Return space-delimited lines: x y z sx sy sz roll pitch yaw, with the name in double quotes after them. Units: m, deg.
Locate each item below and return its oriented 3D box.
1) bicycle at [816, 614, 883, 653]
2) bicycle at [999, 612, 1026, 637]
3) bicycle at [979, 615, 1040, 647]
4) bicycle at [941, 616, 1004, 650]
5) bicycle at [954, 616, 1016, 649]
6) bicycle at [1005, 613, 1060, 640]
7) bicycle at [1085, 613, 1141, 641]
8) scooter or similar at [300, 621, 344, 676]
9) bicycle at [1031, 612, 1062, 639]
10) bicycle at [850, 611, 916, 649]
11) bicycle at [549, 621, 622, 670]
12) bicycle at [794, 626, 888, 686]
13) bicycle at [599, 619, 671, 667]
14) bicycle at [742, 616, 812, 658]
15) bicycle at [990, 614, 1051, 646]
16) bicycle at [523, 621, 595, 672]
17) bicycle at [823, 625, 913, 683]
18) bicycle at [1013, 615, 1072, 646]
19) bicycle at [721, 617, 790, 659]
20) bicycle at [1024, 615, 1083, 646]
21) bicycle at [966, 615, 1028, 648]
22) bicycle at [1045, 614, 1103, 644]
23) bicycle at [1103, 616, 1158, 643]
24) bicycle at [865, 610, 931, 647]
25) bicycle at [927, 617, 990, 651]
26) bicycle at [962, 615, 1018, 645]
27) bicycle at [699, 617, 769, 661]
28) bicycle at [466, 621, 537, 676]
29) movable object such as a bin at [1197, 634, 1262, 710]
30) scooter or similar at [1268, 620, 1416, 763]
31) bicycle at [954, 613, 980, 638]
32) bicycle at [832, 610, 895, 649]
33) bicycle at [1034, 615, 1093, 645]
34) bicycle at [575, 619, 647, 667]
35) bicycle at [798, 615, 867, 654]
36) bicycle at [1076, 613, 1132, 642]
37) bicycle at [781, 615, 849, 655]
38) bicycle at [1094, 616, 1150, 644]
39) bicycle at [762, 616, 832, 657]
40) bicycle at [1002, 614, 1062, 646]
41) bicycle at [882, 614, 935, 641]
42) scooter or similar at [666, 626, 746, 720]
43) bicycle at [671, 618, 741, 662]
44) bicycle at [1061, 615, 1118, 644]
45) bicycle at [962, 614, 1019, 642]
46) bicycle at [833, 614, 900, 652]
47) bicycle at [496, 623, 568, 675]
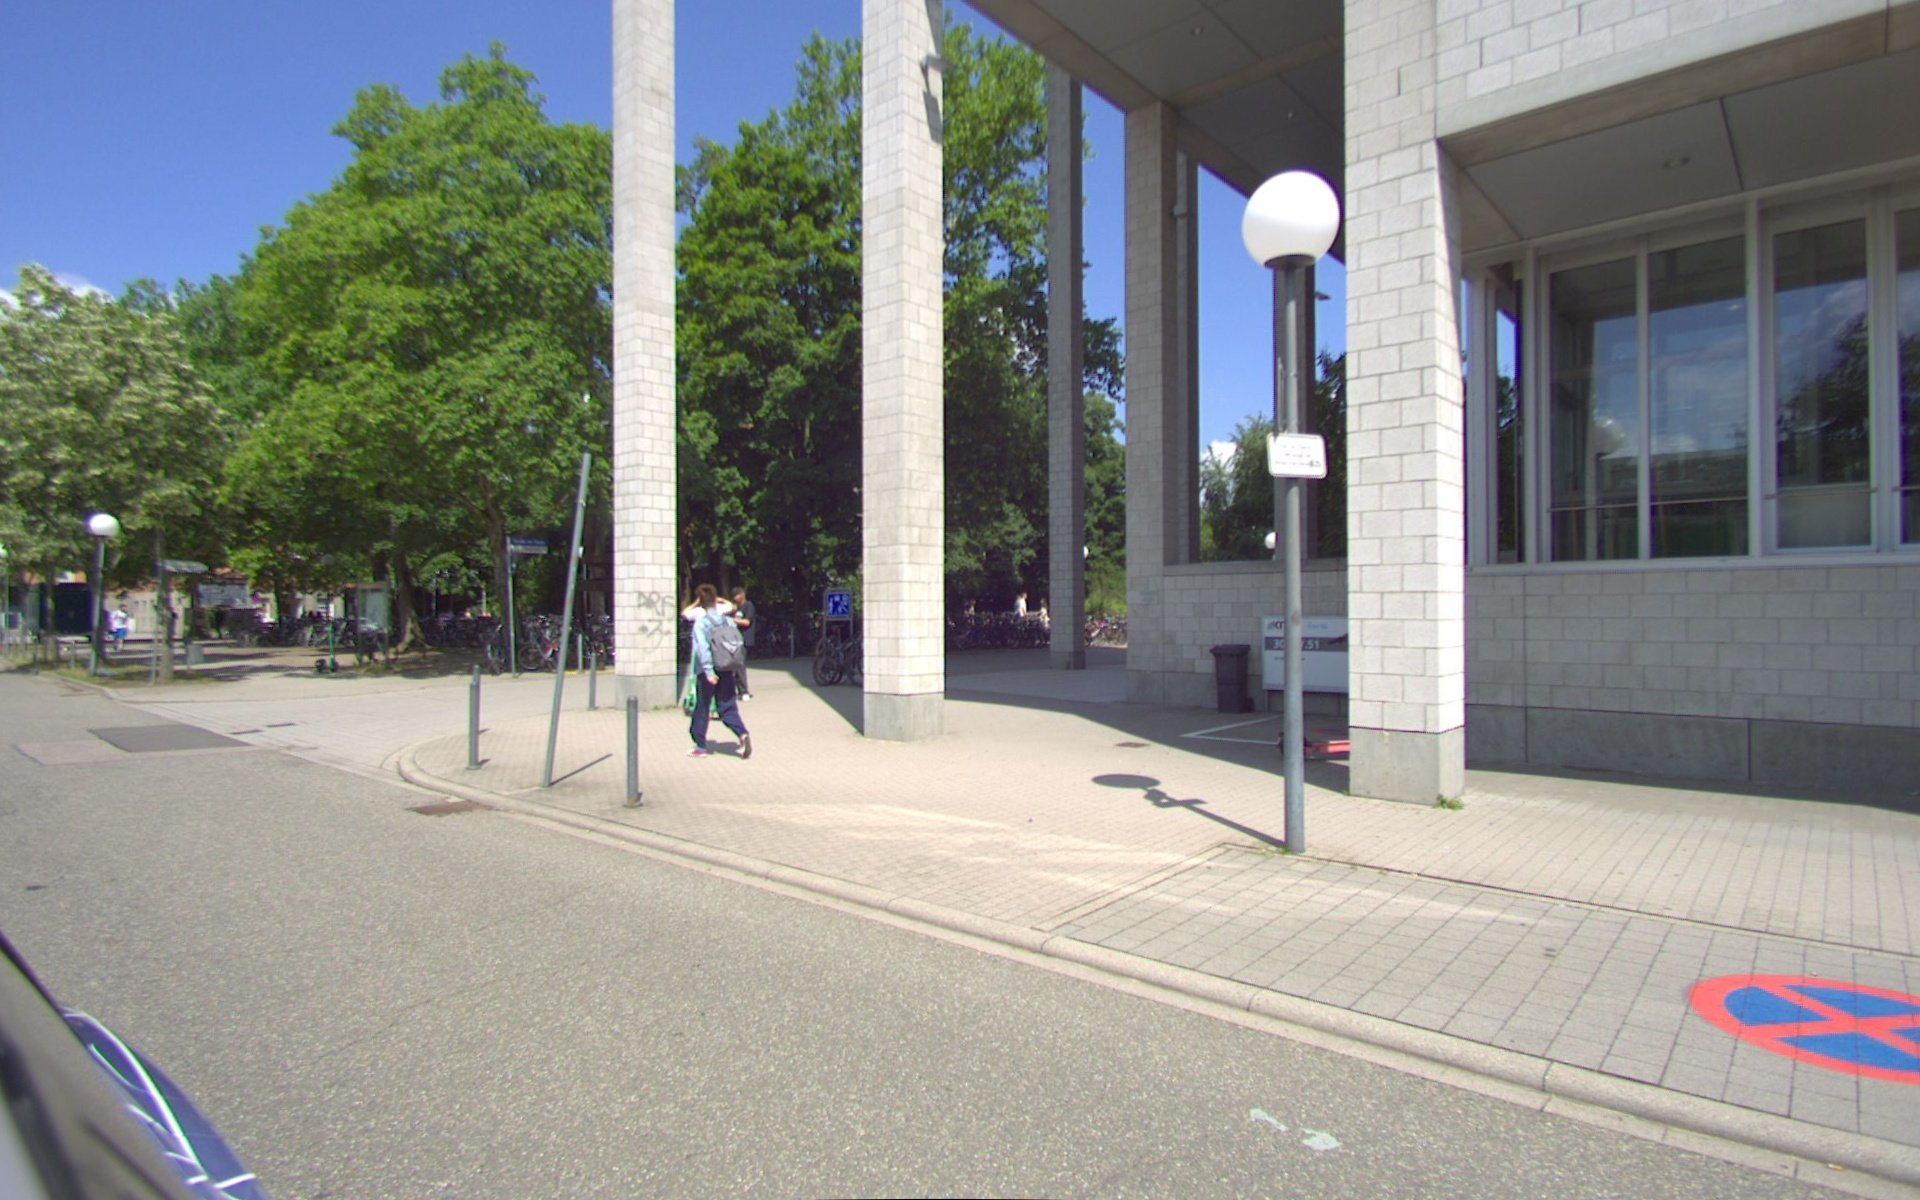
-3.185 0.947 29.046 2.174 1.066 0.614 -1 0 41 "bicycle"
2.360 1.088 45.654 0.612 1.066 2.181 -1 0 -14 "bicycle"
1.672 1.045 34.480 2.174 1.066 0.614 -1 0 41 "bicycle"
0.381 1.074 32.989 2.174 1.066 0.614 -1 0 41 "bicycle"
0.807 1.062 33.487 2.174 1.066 0.614 -1 0 41 "bicycle"
2.950 1.081 41.225 2.161 1.066 0.618 -1 0 23 "bicycle"
5.992 1.040 39.616 2.174 1.066 0.614 -1 0 41 "bicycle"
-15.063 1.123 23.928 0.702 1.200 1.620 0 0 -27 "scooter or similar"
3.613 1.072 42.520 0.612 1.066 2.181 -1 0 -14 "bicycle"
-2.314 0.877 30.066 2.174 1.066 0.614 -1 0 41 "bicycle"
-8.595 1.020 23.189 2.123 1.066 0.614 -1 0 41 "bicycle"
-2.161 0.978 18.224 0.588 0.993 1.966 -1 0 -45 "bicycle"
-7.789 1.009 24.198 2.123 1.066 0.614 -1 0 41 "bicycle"
-4.904 0.971 27.068 2.174 1.066 0.614 -1 0 41 "bicycle"
2.083 1.033 34.990 2.174 1.066 0.614 -1 0 41 "bicycle"
-9.007 1.026 22.685 2.123 1.066 0.614 -1 0 41 "bicycle"
-1.721 0.972 18.646 0.510 0.993 1.966 -1 0 -45 "bicycle"
2.925 1.083 35.992 2.174 1.066 0.614 -1 0 41 "bicycle"
-5.398 0.977 26.610 2.123 1.066 0.614 -1 0 41 "bicycle"
3.353 1.080 36.493 2.174 1.066 0.614 -1 0 41 "bicycle"
1.237 1.052 33.983 2.174 1.066 0.614 -1 0 41 "bicycle"
4.208 1.053 37.516 2.174 1.066 0.614 -1 0 41 "bicycle"
6.827 1.176 40.678 2.174 1.066 0.614 -1 0 41 "bicycle"
-1.884 0.842 30.572 2.174 1.066 0.614 -1 0 41 "bicycle"
-0.070 1.077 32.482 2.174 1.066 0.614 -1 0 41 "bicycle"
1.095 1.107 37.450 2.174 1.066 0.614 -1 0 41 "bicycle"
-5.835 0.983 26.067 2.123 1.066 0.614 -1 0 41 "bicycle"
-9.858 1.025 21.734 1.998 1.115 0.502 -1 -1 38 "bicycle"
3.678 0.962 13.829 0.702 0.986 0.477 -1 -1 42 "movable object such as a bin"
3.486 0.819 9.260 1.196 1.241 0.402 -1 0 -8 "scooter or similar"
0.303 1.115 44.998 0.612 1.066 2.181 -1 0 -14 "bicycle"
-3.416 1.028 35.869 2.149 1.343 0.621 -1 0 7 "bicycle"
3.768 1.074 37.012 2.174 1.066 0.614 -1 0 41 "bicycle"
-8.183 0.981 23.688 2.123 1.066 0.614 -1 0 41 "bicycle"
-3.613 0.953 28.546 2.174 1.066 0.614 -1 0 41 "bicycle"
5.550 1.039 39.070 2.174 1.066 0.614 -1 0 41 "bicycle"
-4.034 0.959 28.054 2.174 1.066 0.614 -1 0 41 "bicycle"
6.414 1.182 40.143 2.174 1.066 0.614 -1 0 41 "bicycle"
-4.452 0.965 27.546 2.174 1.066 0.614 -1 0 41 "bicycle"
2.503 1.034 35.485 2.174 1.066 0.614 -1 0 41 "bicycle"
-2.176 1.149 42.432 2.161 1.066 0.618 -1 0 23 "bicycle"
-3.306 0.925 13.114 1.312 1.153 0.313 -1 0 42 "scooter or similar"
-6.471 0.992 25.741 2.123 1.066 0.614 -1 0 41 "bicycle"
4.903 1.101 38.355 2.174 1.066 0.614 -1 0 41 "bicycle"
1.202 1.105 40.026 2.161 1.066 0.618 -1 0 23 "bicycle"
-2.754 0.942 29.557 2.174 1.066 0.614 -1 0 41 "bicycle"
-9.408 1.047 22.200 2.123 1.066 0.584 -1 0 41 "bicycle"
